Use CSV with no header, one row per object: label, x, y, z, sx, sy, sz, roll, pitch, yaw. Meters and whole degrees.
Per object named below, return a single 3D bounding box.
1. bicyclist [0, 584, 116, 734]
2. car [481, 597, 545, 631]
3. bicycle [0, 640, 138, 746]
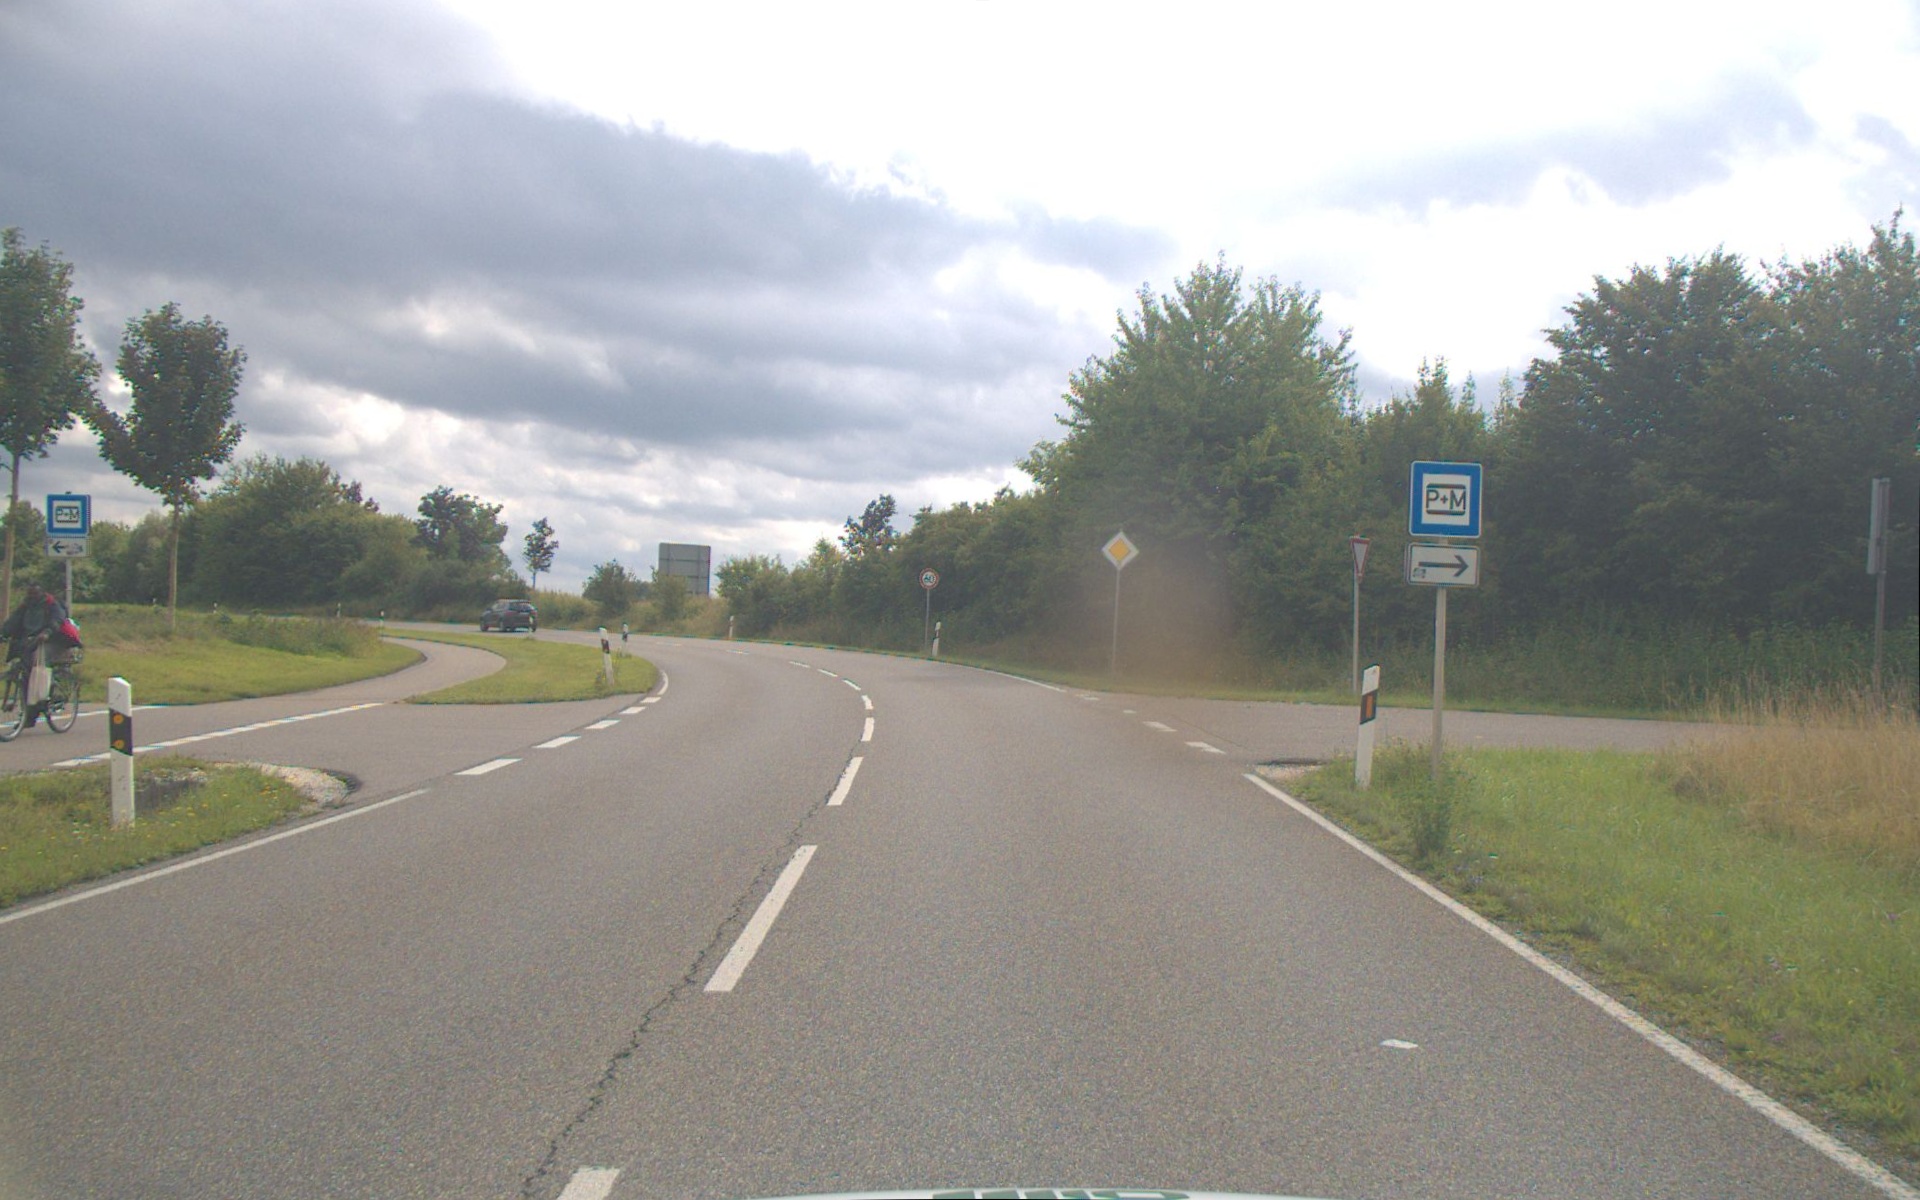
bicyclist,-10.082,0.635,18.349,0.813,1.593,1.056,2,0,2
car,-23.738,0.708,87.754,1.894,1.695,3.944,2,0,-39
bicycle,-10.026,1.000,18.397,0.622,1.050,2.191,1,0,1
